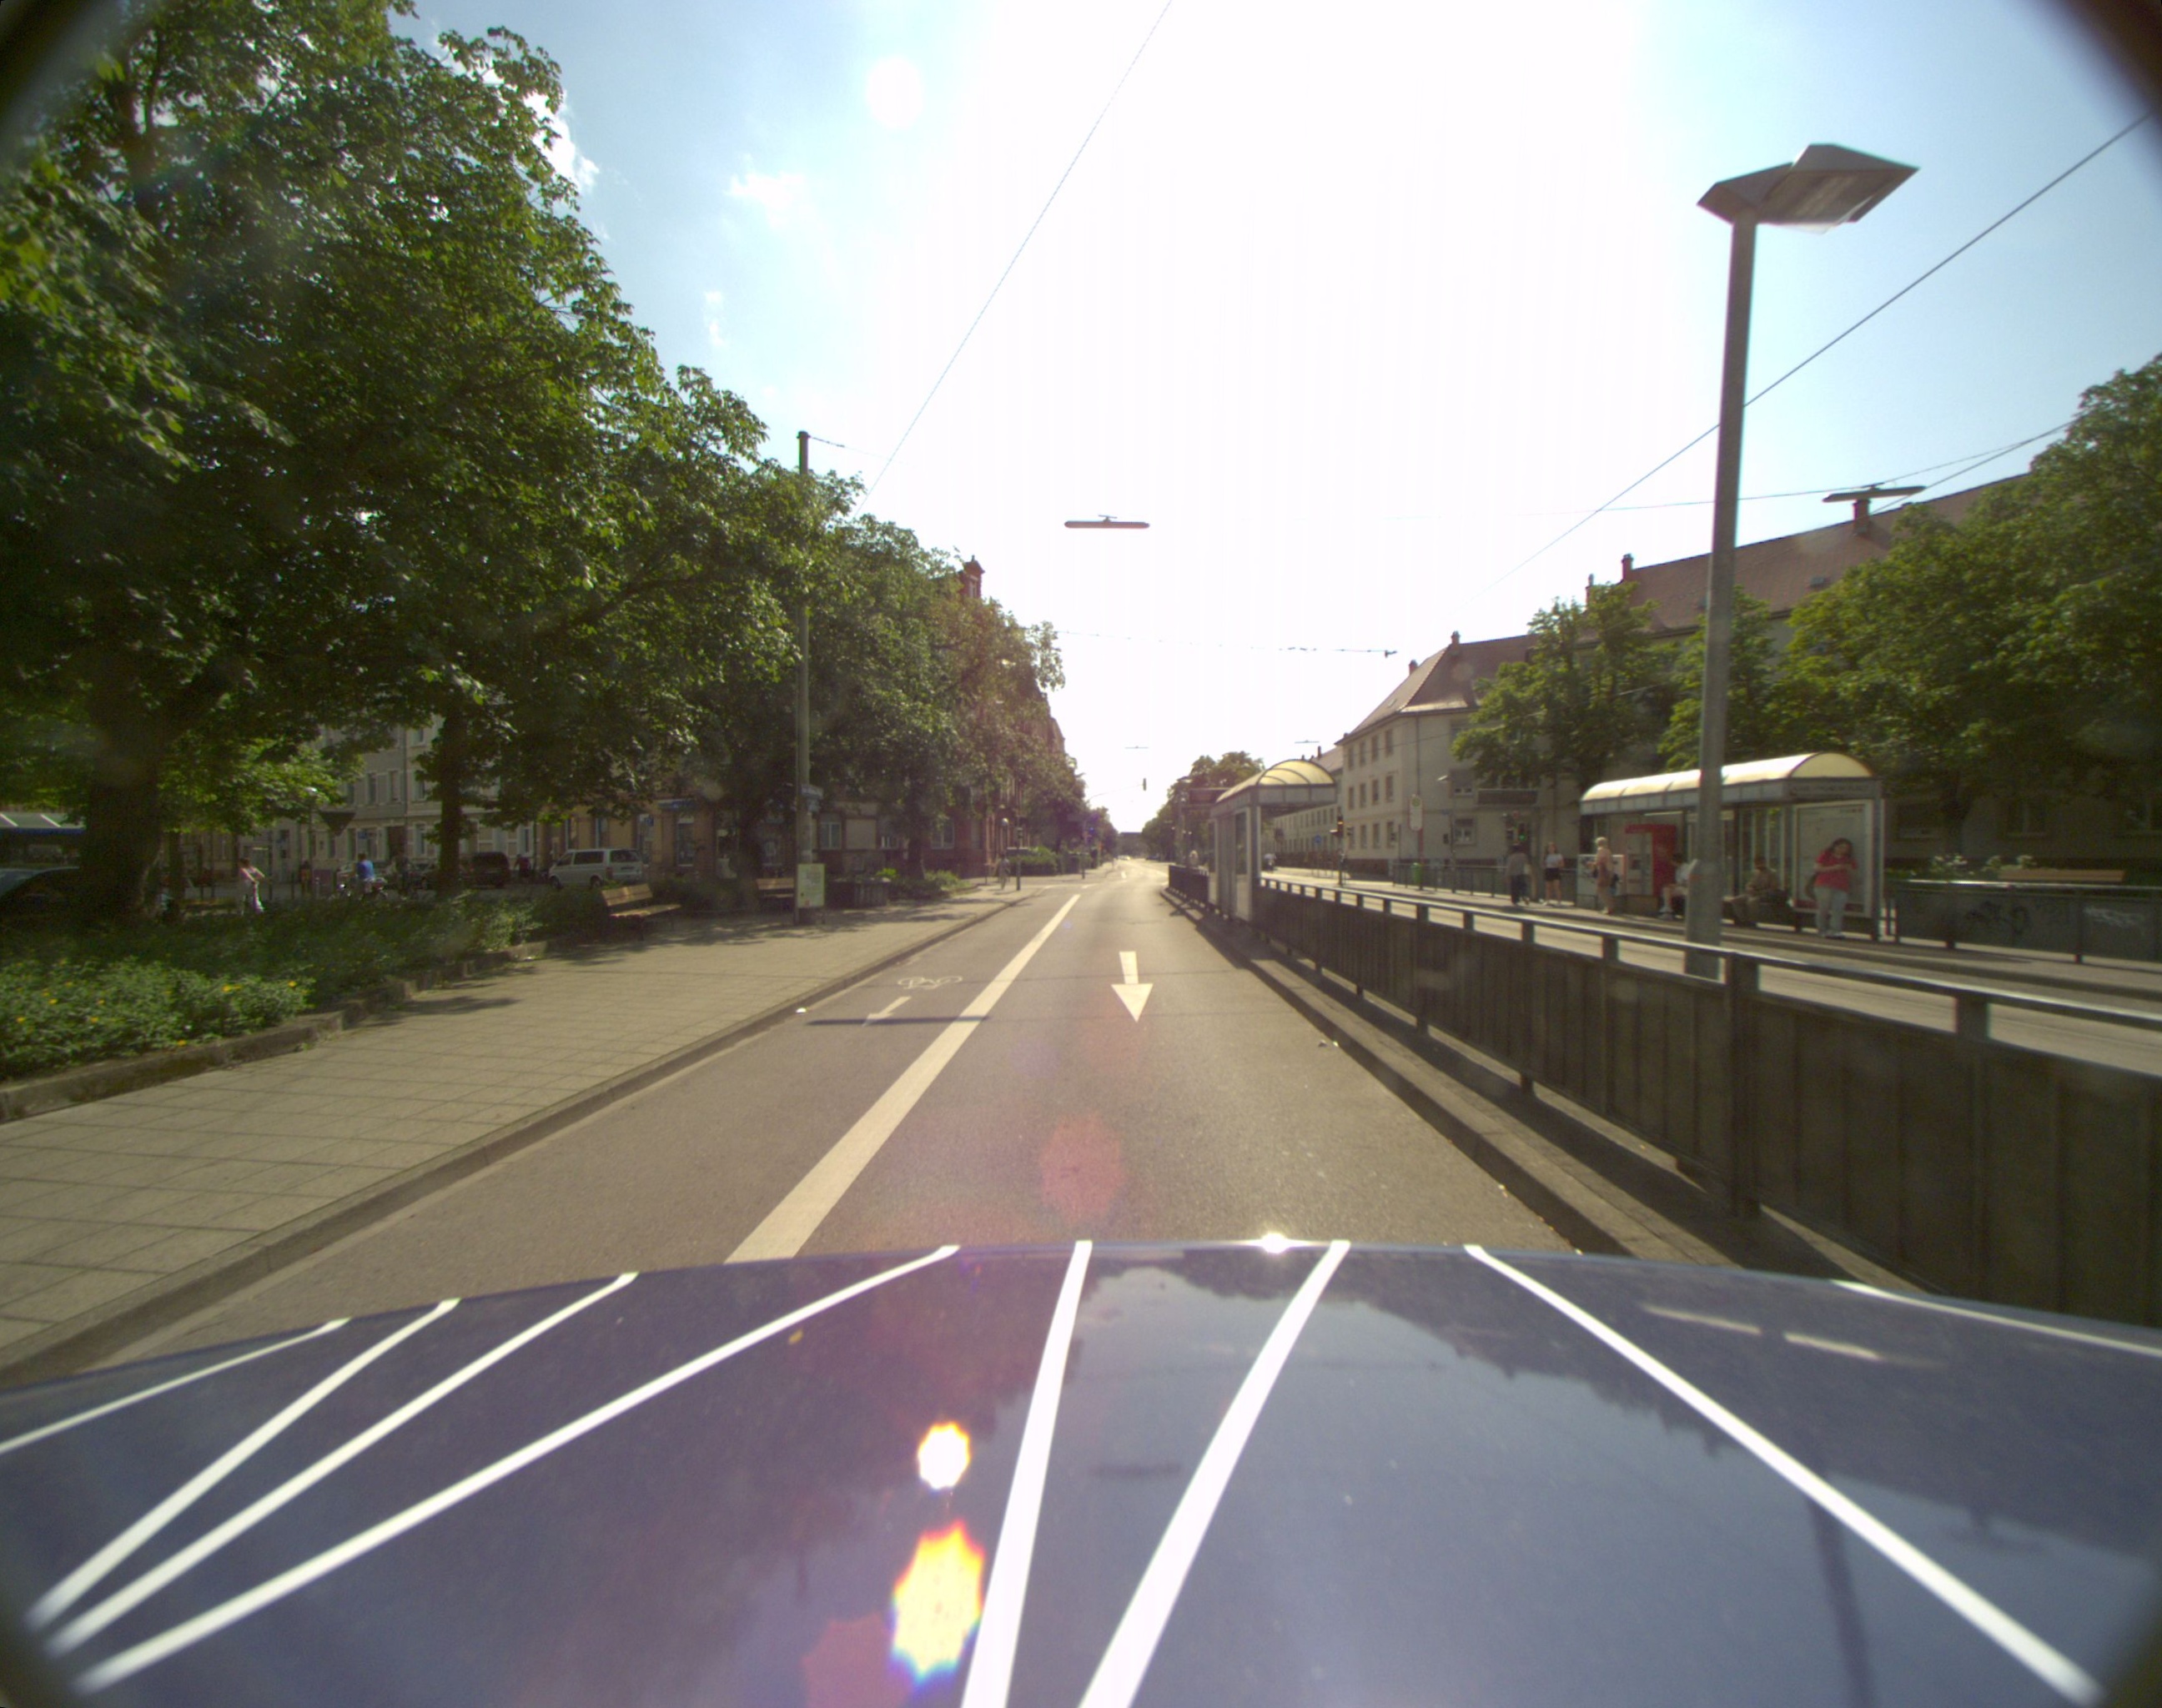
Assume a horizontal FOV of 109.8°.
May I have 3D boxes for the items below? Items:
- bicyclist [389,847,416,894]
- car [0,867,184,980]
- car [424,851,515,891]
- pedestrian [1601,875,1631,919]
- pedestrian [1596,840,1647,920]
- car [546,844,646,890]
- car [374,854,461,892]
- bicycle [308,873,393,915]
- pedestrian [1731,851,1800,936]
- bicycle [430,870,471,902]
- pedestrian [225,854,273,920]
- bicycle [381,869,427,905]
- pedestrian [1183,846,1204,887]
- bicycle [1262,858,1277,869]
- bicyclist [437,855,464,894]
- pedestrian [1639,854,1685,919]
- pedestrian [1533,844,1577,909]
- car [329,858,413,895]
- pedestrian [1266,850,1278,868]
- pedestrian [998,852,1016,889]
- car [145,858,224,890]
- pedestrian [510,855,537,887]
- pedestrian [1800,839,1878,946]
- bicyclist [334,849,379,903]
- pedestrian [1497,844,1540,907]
[{"bbox_3d":[-23.411,0.579,26.215,0.698,1.589,0.507,-2,-2,32],"label":"bicyclist"},{"bbox_3d":[-15.733,0.979,10.669,1.848,1.492,4.180,-1,0,-12],"label":"car"},{"bbox_3d":[-31.845,0.850,39.574,4.306,2.002,2.003,0,1,25],"label":"car"},{"bbox_3d":[11.493,0.917,16.329,0.340,0.925,0.346,2,2,-4],"label":"pedestrian"},{"bbox_3d":[11.490,0.532,16.157,0.498,1.660,0.678,2,2,-4],"label":"pedestrian"},{"bbox_3d":[-22.519,0.580,35.303,4.306,1.975,1.841,0,2,25],"label":"car"},{"bbox_3d":[-36.304,0.999,41.563,4.306,2.002,2.003,0,1,25],"label":"car"},{"bbox_3d":[-19.479,1.062,20.273,1.684,1.000,0.524,-2,1,1],"label":"bicycle"},{"bbox_3d":[12.102,0.674,13.442,0.530,1.448,0.692,2,1,1],"label":"pedestrian"},{"bbox_3d":[-22.628,1.141,27.262,1.661,1.109,0.524,-2,1,30],"label":"bicycle"},{"bbox_3d":[-21.835,0.850,19.952,0.561,1.690,0.533,-2,1,1],"label":"pedestrian"},{"bbox_3d":[-23.343,1.148,26.200,1.848,1.187,0.524,-2,1,29],"label":"bicycle"},{"bbox_3d":[4.317,0.480,29.244,0.702,1.524,0.557,-2,1,2],"label":"pedestrian"},{"bbox_3d":[15.314,0.733,61.636,0.755,0.844,1.618,0,0,-2],"label":"bicycle"},{"bbox_3d":[-22.581,0.751,27.220,0.741,1.364,0.470,-2,2,32],"label":"bicyclist"},{"bbox_3d":[12.218,0.681,15.992,0.605,1.329,0.406,2,2,-4],"label":"pedestrian"},{"bbox_3d":[12.244,0.578,19.629,0.657,1.632,0.639,2,1,2],"label":"pedestrian"},{"bbox_3d":[-40.479,1.260,43.344,4.306,2.002,2.003,0,1,25],"label":"car"},{"bbox_3d":[15.393,0.382,61.221,0.805,1.465,0.806,0,1,-2],"label":"pedestrian"},{"bbox_3d":[-3.340,0.729,34.317,0.707,1.645,0.534,-2,1,2],"label":"pedestrian"},{"bbox_3d":[-62.331,1.366,52.798,5.583,2.003,2.002,0,4,25],"label":"car"},{"bbox_3d":[-30.000,0.886,40.908,0.760,1.697,0.930,0,1,29],"label":"pedestrian"},{"bbox_3d":[12.018,0.592,12.071,0.473,1.647,0.746,-1,1,2],"label":"pedestrian"},{"bbox_3d":[-19.310,0.575,20.259,0.634,1.396,0.482,-2,1,1],"label":"bicyclist"},{"bbox_3d":[11.343,0.539,19.718,0.657,1.598,0.638,2,2,-4],"label":"pedestrian"}]
